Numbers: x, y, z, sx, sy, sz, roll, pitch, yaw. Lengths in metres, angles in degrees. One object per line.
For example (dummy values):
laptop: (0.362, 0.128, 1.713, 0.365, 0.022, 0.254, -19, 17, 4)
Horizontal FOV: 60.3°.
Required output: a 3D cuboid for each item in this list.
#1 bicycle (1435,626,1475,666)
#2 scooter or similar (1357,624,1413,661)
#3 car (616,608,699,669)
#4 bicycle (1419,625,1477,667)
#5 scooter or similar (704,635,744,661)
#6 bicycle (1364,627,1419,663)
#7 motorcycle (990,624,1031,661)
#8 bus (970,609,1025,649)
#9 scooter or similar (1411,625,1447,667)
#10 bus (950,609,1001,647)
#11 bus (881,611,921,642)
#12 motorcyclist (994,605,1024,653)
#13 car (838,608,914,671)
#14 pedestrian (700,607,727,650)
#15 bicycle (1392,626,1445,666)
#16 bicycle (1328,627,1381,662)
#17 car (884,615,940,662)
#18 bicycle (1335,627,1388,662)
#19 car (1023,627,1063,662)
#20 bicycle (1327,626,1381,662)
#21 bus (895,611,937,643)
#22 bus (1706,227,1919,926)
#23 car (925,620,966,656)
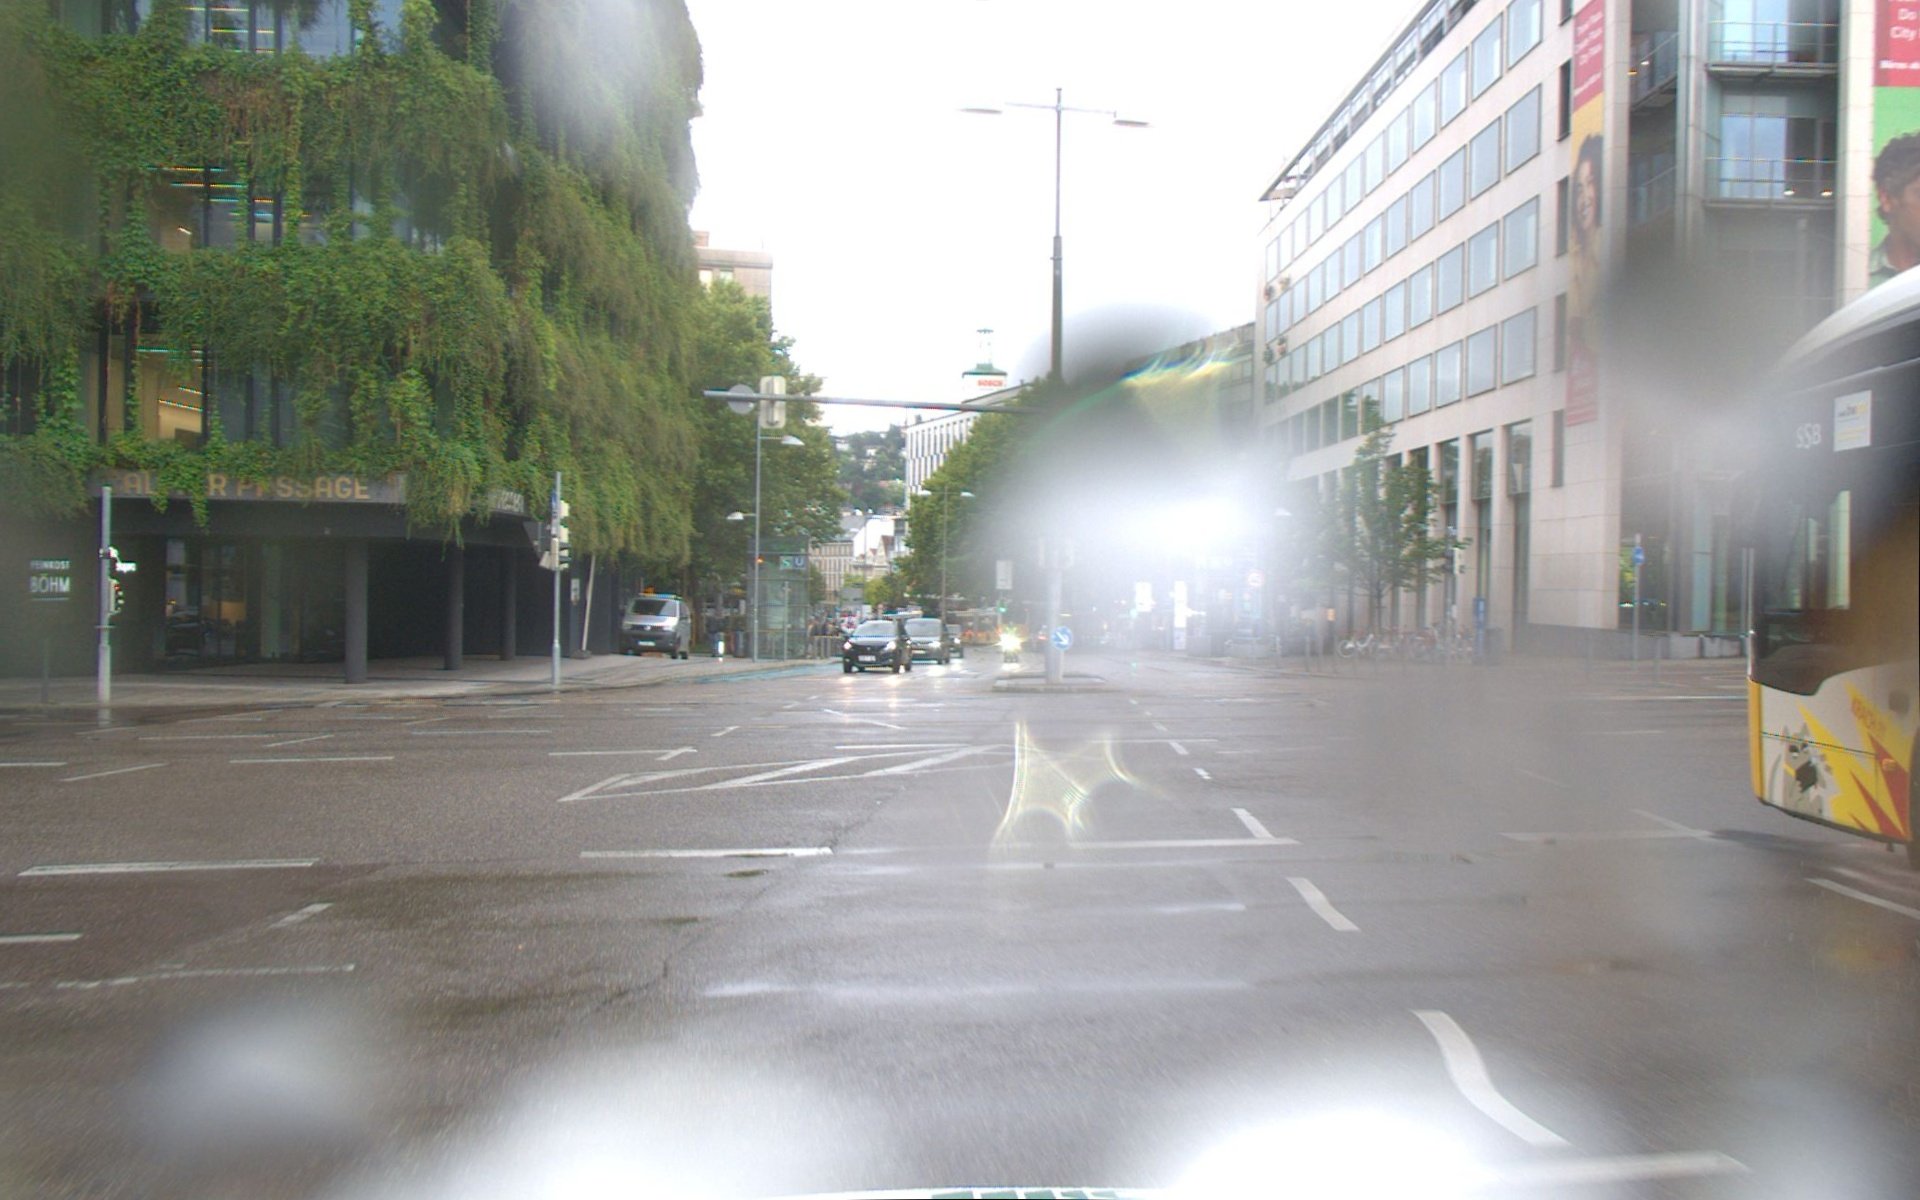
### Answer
bicycle: (15.423, 1.431, 51.527, 0.575, 1.215, 1.774, -1, -2, 39)
scooter or similar: (14.283, 1.417, 55.595, 1.740, 1.215, 0.587, 1, -1, 4)
car: (-9.753, 1.245, 53.650, 1.831, 1.872, 4.000, 1, -1, 2)
bicycle: (14.596, 1.377, 49.441, 1.591, 1.215, 0.586, 0, -2, 28)
scooter or similar: (-9.692, 1.970, 67.857, 0.612, 1.022, 1.652, 0, -1, 39)
bicycle: (14.653, 1.520, 56.204, 1.740, 1.215, 0.587, 1, -1, 4)
motorcycle: (2.157, 1.819, 71.337, 1.520, 1.541, 4.383, 1, -1, -1)
bus: (2.947, 2.246, 130.936, 2.583, 3.048, 7.423, 0, -1, -13)
scooter or similar: (13.831, 1.355, 48.779, 0.946, 1.215, 0.452, -1, -2, 42)
bus: (1.255, 2.326, 138.137, 2.583, 3.048, 7.423, 0, -1, -13)
bus: (-5.959, 2.623, 165.606, 2.583, 3.048, 7.423, 0, -1, -13)
motorcyclist: (2.104, 1.261, 71.682, 1.236, 2.049, 0.905, 1, -1, -1)
car: (-2.473, 1.187, 50.008, 2.120, 1.796, 5.110, 1, -1, -1)
pedestrian: (-9.662, 1.133, 64.920, 0.914, 1.673, 0.774, 1, -1, 1)
bicycle: (14.125, 1.405, 51.008, 0.577, 1.215, 1.768, 1, -1, -26)
bicycle: (13.843, 1.550, 58.032, 1.740, 1.215, 0.587, 1, -1, 4)
car: (-1.883, 1.526, 65.720, 2.120, 1.796, 5.110, 1, -1, -1)
bicycle: (14.298, 1.574, 58.937, 1.740, 1.215, 0.587, 1, -1, 4)
car: (5.009, 2.684, 100.222, 1.515, 2.049, 4.658, 1, -1, -9)
bicycle: (13.673, 1.534, 57.403, 1.740, 1.215, 0.587, 1, -1, 4)
bus: (-4.264, 2.560, 158.455, 2.583, 3.048, 7.302, 0, -1, -13)
bus: (6.125, -0.157, 6.016, 2.823, 3.511, 9.759, 1, -1, 3)
car: (-0.792, 2.003, 87.733, 2.120, 1.796, 5.110, 1, -1, -1)
